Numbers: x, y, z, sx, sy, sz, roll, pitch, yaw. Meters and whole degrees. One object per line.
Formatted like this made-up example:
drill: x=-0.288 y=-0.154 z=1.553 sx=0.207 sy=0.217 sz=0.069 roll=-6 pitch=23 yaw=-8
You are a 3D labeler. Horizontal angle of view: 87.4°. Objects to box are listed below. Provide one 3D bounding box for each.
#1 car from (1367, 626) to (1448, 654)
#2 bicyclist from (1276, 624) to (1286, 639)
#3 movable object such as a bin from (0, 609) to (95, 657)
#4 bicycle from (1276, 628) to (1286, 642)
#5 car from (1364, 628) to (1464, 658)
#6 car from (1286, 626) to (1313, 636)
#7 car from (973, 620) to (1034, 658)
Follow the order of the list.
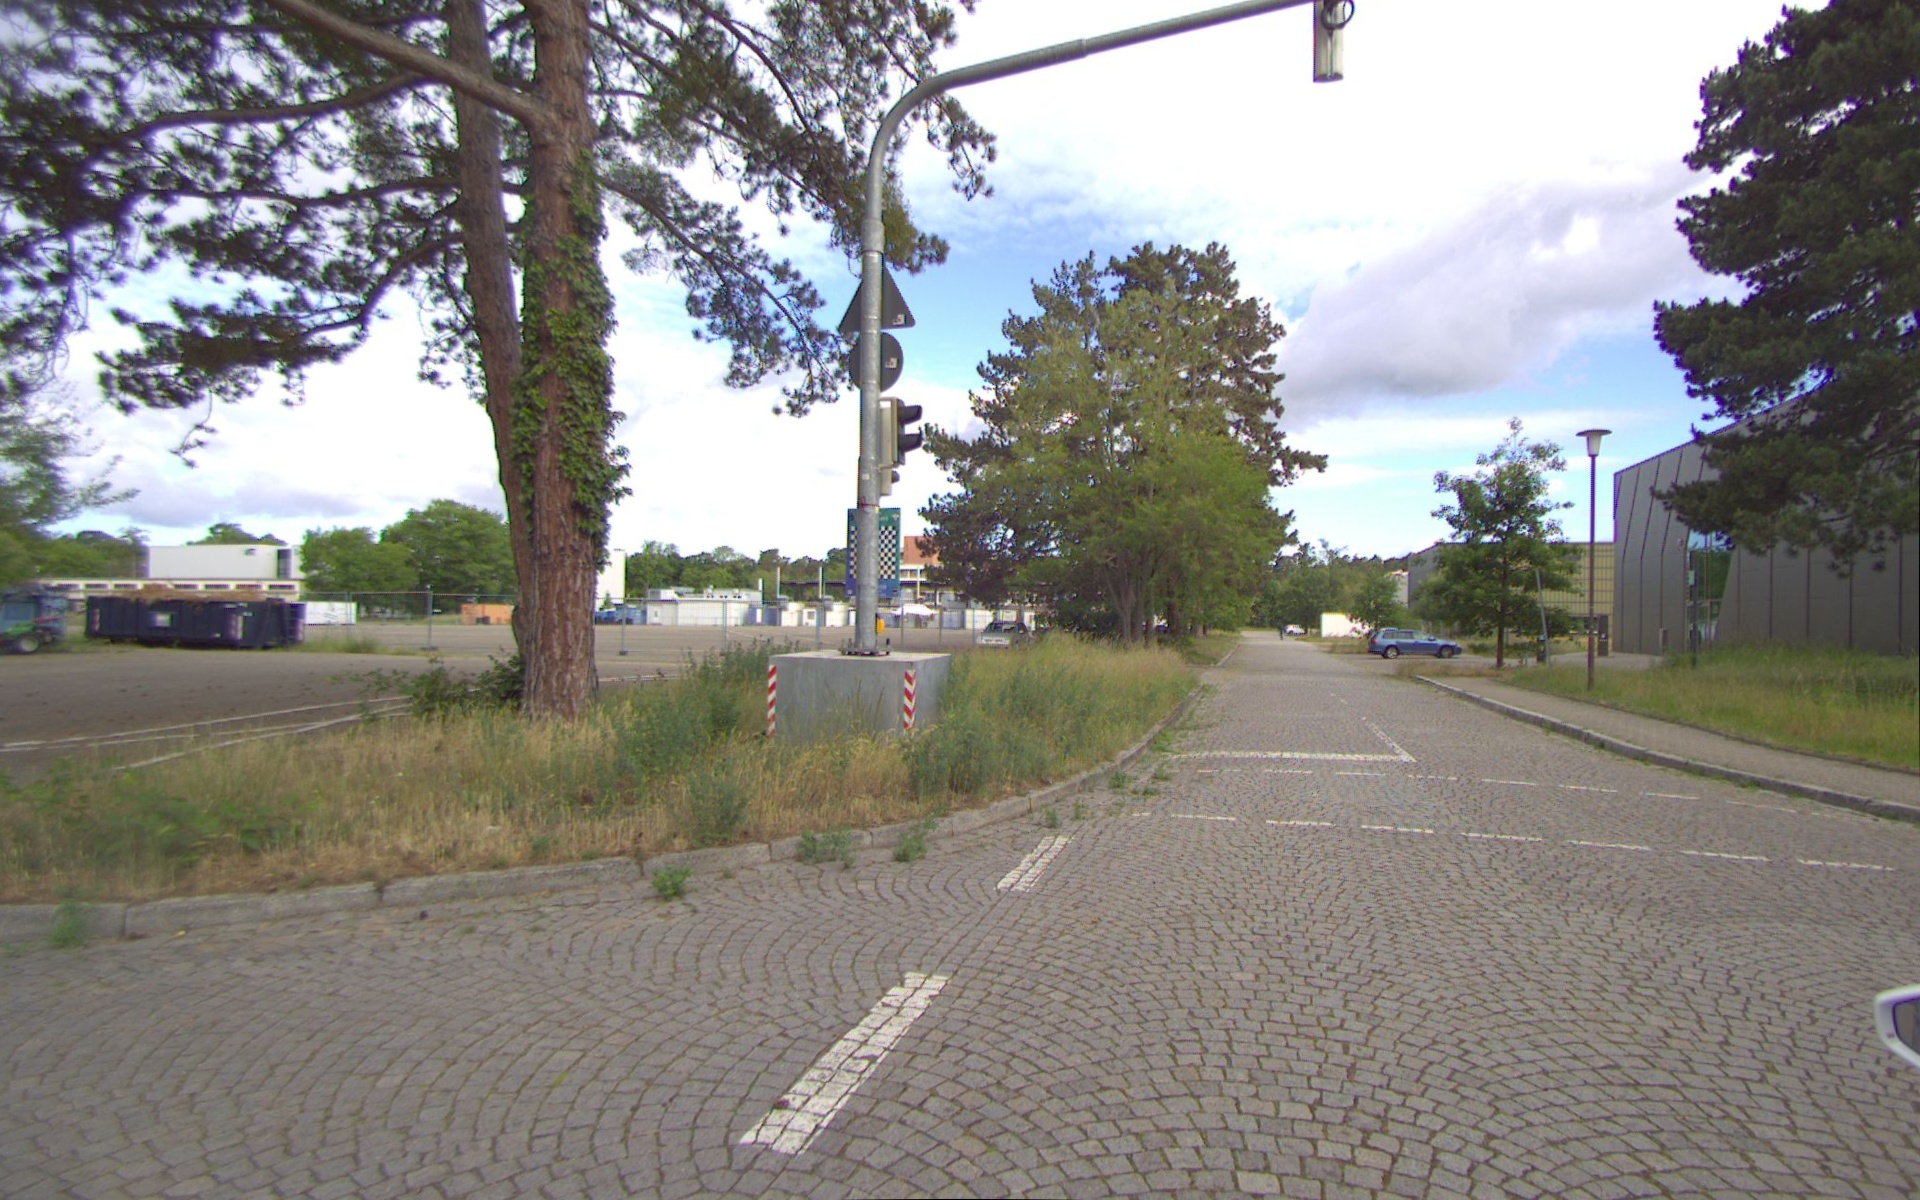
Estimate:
car: x=26.256 y=2.355 z=59.057 sx=4.038 sy=1.593 sz=1.766 roll=-1 pitch=-1 yaw=14
bicyclist: x=34.073 y=3.320 z=106.614 sx=0.882 sy=1.563 sz=0.868 roll=1 pitch=0 yaw=15
movable object such as a bin: x=-22.935 y=0.806 z=24.812 sx=0.841 sy=1.140 sz=2.270 roll=1 pitch=-2 yaw=15
bicycle: x=34.071 y=3.702 z=106.636 sx=0.810 sy=1.395 sz=2.043 roll=1 pitch=0 yaw=15
car: x=23.474 y=2.244 z=52.109 sx=4.405 sy=1.482 sz=1.936 roll=-1 pitch=-1 yaw=14
car: x=56.544 y=5.156 z=167.302 sx=4.250 sy=1.570 sz=2.001 roll=1 pitch=-1 yaw=18
car: x=1.935 y=1.645 z=43.187 sx=1.700 sy=1.451 sz=4.163 roll=1 pitch=0 yaw=15
